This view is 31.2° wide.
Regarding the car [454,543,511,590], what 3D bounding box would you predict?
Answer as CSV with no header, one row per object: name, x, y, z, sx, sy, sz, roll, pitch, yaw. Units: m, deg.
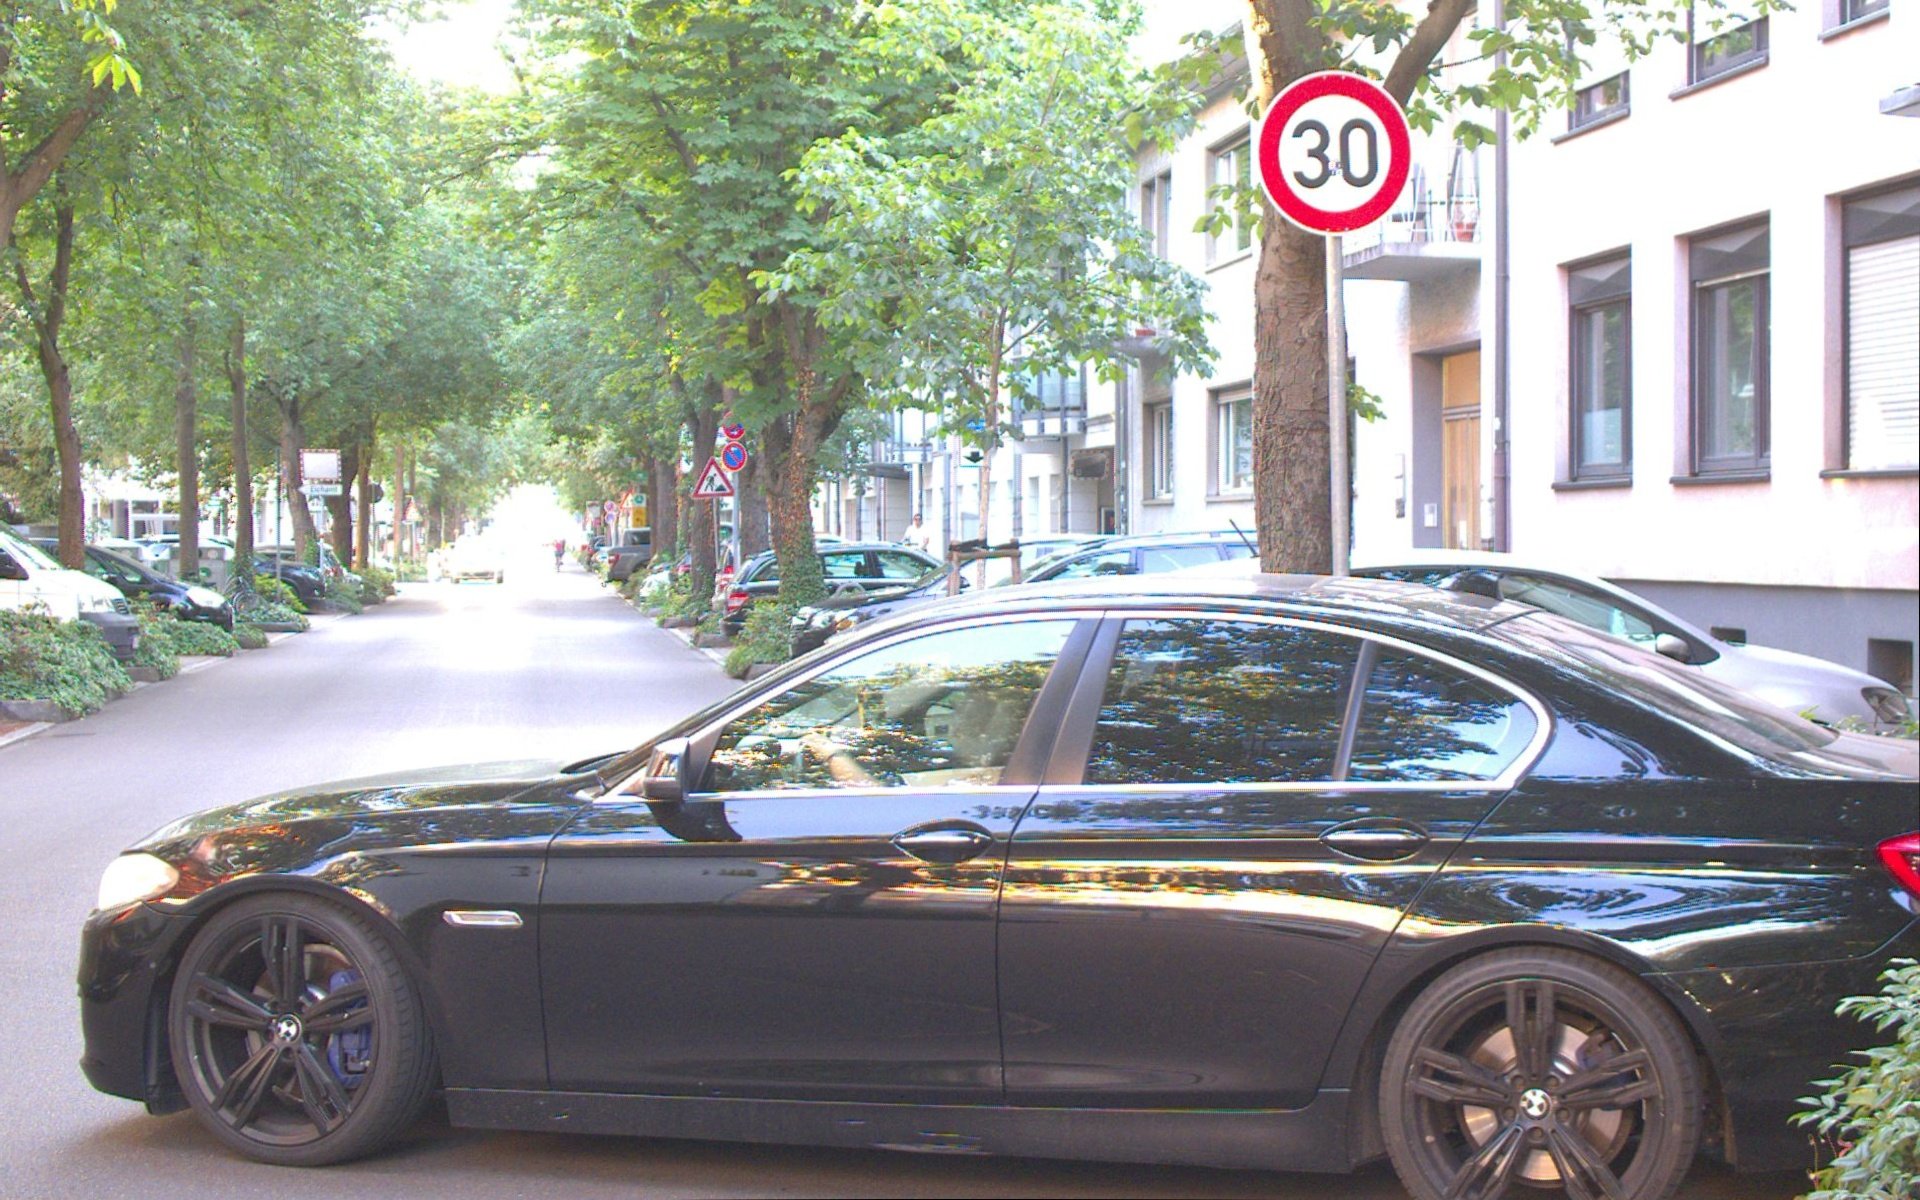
car,-16.276,-1.161,117.406,1.779,1.557,4.169,0,1,-6

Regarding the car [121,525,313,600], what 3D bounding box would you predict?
car,-16.426,-0.835,76.158,3.967,1.614,1.785,0,1,-5

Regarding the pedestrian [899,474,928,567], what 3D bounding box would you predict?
pedestrian,-1.010,-1.733,75.055,0.589,2.007,0.669,0,1,-5

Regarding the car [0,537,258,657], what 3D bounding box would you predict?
car,-11.928,-0.052,48.047,3.967,1.614,1.785,0,1,-6

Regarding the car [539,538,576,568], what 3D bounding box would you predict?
car,-20.897,-2.458,178.538,1.822,1.525,4.001,-1,1,-6

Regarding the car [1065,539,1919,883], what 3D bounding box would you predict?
car,2.566,0.465,16.081,3.908,1.471,1.665,-1,1,-8

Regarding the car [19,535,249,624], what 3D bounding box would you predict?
car,-15.467,-0.399,64.512,3.967,1.614,1.785,0,1,-5

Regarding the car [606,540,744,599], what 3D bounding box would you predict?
car,-8.357,-0.911,100.780,3.967,1.678,1.785,0,1,-5

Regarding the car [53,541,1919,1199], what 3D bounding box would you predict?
car,0.364,0.604,8.382,4.749,1.475,1.799,0,1,17

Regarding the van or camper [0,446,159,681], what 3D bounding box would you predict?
van or camper,-11.130,-0.395,37.049,4.662,2.470,2.000,0,1,-7

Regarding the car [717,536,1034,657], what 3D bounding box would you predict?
car,-1.134,-0.066,44.965,3.967,1.522,1.785,-1,1,-7

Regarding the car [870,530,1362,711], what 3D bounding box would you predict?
car,1.307,0.147,29.692,3.967,1.471,1.785,-1,1,-8

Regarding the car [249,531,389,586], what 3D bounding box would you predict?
car,-19.122,-1.244,102.657,3.967,1.614,1.785,0,1,-5

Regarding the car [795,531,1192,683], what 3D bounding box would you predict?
car,0.318,0.047,36.154,3.967,1.522,1.785,-1,1,-7

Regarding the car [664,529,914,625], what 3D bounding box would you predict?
car,-2.851,-0.399,56.828,3.967,1.522,1.785,-1,1,-8
